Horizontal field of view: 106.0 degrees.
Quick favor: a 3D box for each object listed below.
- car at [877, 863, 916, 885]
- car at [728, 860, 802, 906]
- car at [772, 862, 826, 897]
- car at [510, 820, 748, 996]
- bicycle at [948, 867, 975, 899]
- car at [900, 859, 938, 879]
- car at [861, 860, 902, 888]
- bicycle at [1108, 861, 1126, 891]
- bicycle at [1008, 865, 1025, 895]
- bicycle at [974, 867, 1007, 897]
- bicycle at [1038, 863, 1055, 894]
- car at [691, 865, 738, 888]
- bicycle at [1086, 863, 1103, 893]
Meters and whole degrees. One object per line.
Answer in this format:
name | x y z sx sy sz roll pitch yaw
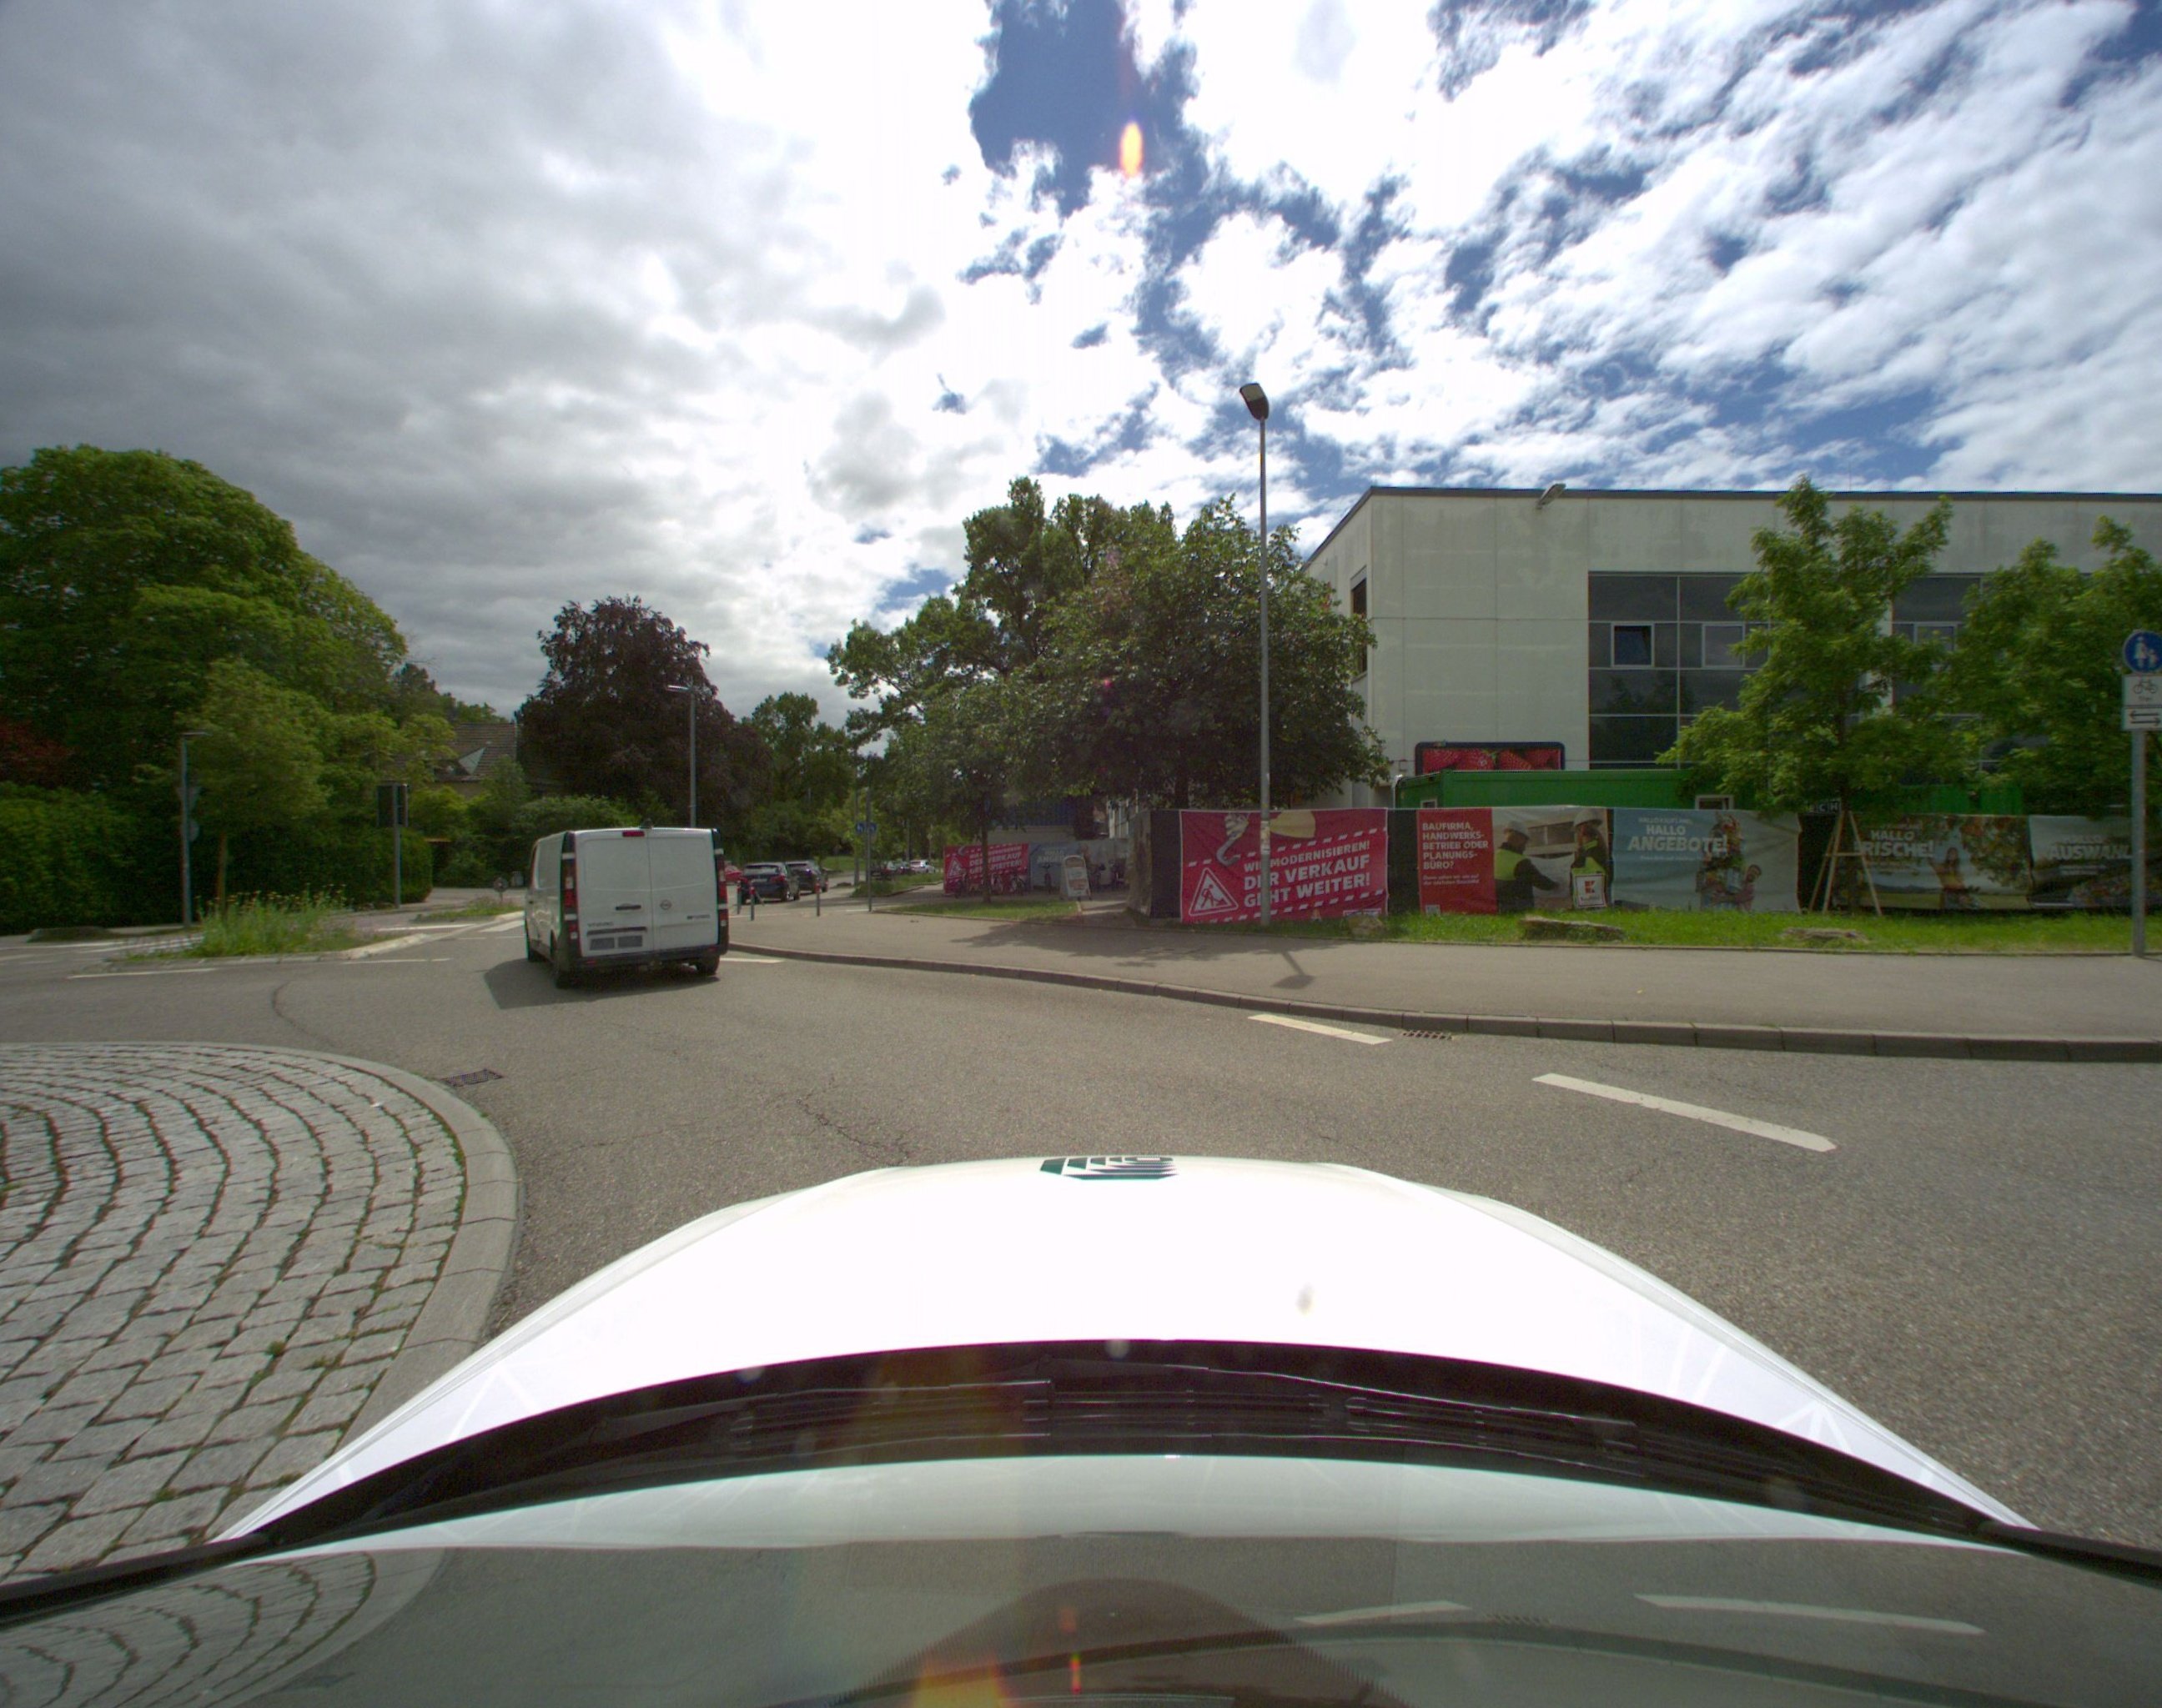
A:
car | -14.286 1.528 63.251 2.056 1.476 3.925 0 1 0
car | -12.174 1.059 31.640 1.933 1.537 3.911 -1 1 -11
car | -13.558 1.183 39.362 1.921 1.500 3.909 -1 1 -12
car | -6.603 0.533 11.560 2.051 1.945 4.936 1 1 -40
bicycle | -4.585 1.110 31.399 0.627 1.127 1.971 1 1 3
car | -13.608 1.235 68.474 2.053 1.500 3.931 0 1 5
car | -14.103 1.392 57.677 1.891 1.744 3.925 0 1 0
bicycle | 1.388 0.838 31.276 0.627 1.064 1.971 1 1 3
bicycle | -2.475 0.989 31.360 0.628 1.049 2.068 1 1 -4
bicycle | -3.468 1.058 31.321 0.625 1.049 2.078 1 1 12
bicycle | -1.322 0.937 31.582 0.527 1.094 2.071 1 1 0
car | -25.782 1.534 57.387 2.063 1.386 4.033 -1 1 -10
bicycle | 0.548 0.912 31.608 0.627 1.049 1.969 1 1 1
